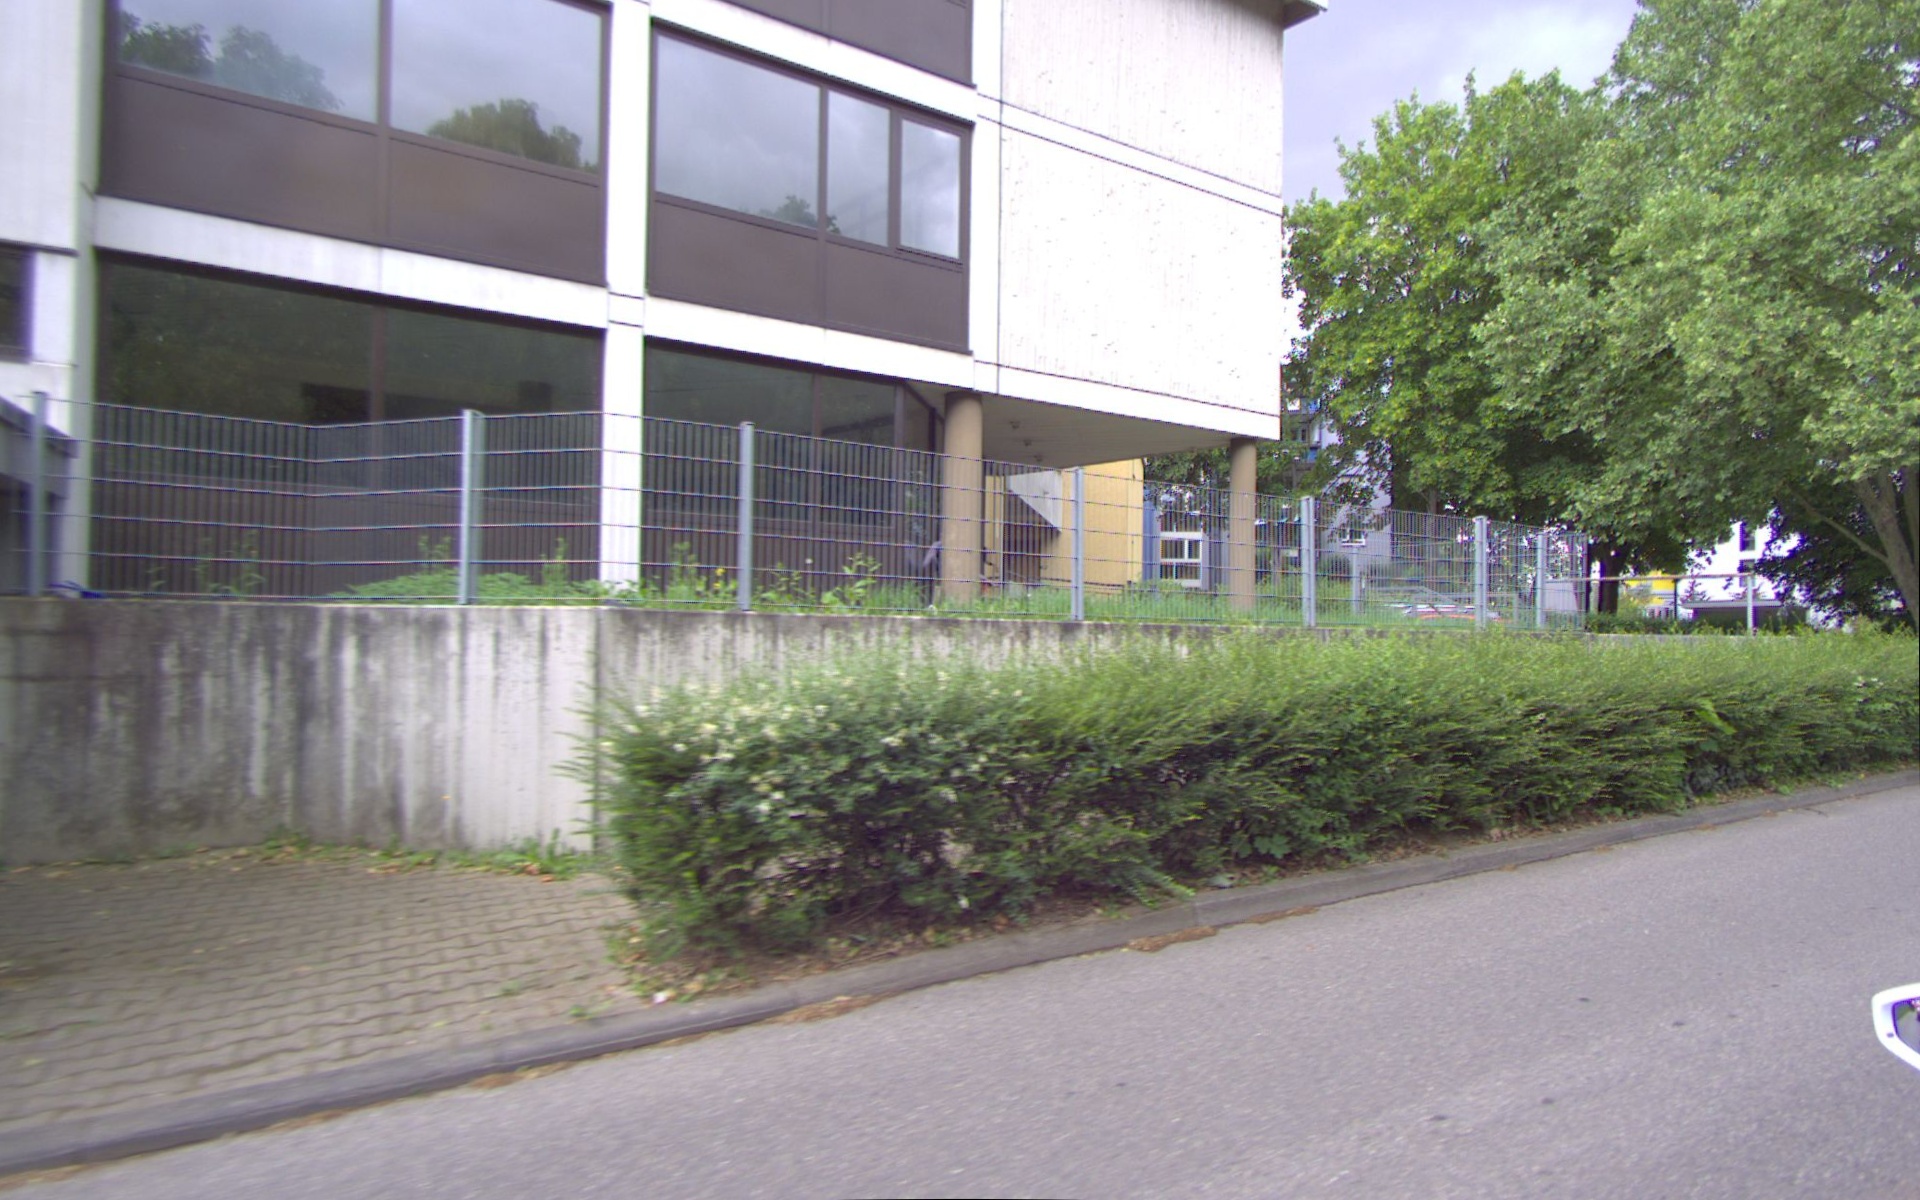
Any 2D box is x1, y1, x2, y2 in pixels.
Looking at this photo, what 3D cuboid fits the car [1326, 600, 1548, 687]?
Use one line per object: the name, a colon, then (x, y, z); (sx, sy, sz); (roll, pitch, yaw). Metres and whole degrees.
car: (9.959, 0.887, 21.267); (3.919, 1.632, 1.826); (1, -1, 13)
